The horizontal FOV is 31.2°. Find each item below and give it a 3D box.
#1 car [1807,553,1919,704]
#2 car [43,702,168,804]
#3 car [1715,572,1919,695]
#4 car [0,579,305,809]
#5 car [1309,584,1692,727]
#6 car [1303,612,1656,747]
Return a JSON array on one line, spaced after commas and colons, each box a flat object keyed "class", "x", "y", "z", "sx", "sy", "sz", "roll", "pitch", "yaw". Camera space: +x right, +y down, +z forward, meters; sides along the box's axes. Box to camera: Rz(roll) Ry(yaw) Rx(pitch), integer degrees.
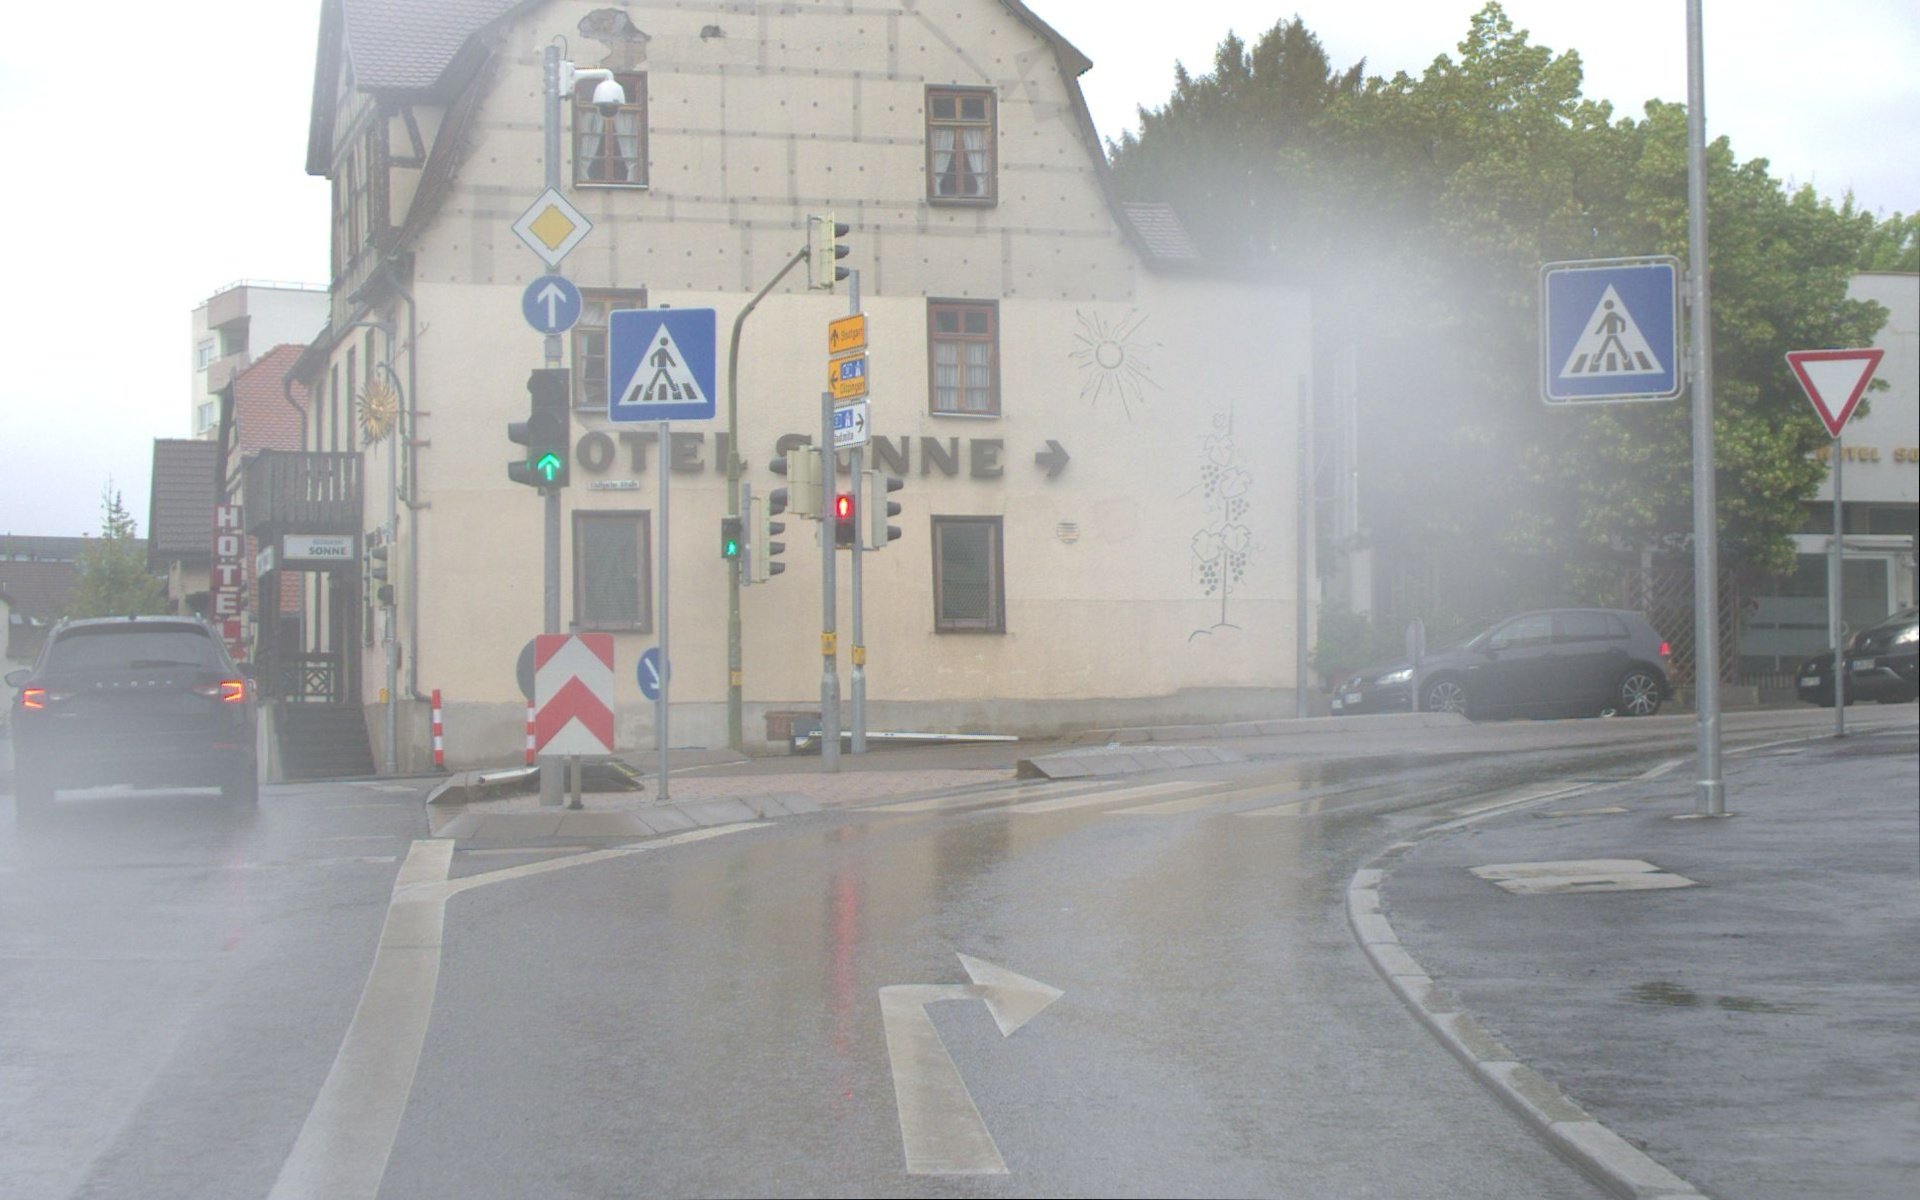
[{"class": "car", "x": 13.466, "y": 0.309, "z": 44.795, "sx": 4.300, "sy": 1.809, "sz": 1.779, "roll": -2, "pitch": -4, "yaw": -18}, {"class": "car", "x": -14.689, "y": 2.610, "z": 59.236, "sx": 1.886, "sy": 1.462, "sz": 4.001, "roll": -2, "pitch": 1, "yaw": -12}, {"class": "car", "x": 12.837, "y": 0.433, "z": 47.738, "sx": 4.171, "sy": 1.514, "sz": 1.779, "roll": -2, "pitch": -4, "yaw": -18}, {"class": "car", "x": -6.237, "y": 0.660, "z": 26.935, "sx": 1.944, "sy": 1.561, "sz": 4.418, "roll": 0, "pitch": 2, "yaw": -8}, {"class": "car", "x": 6.719, "y": 0.690, "z": 42.808, "sx": 4.301, "sy": 1.500, "sz": 1.779, "roll": -2, "pitch": -4, "yaw": -19}, {"class": "car", "x": 6.849, "y": 1.052, "z": 45.444, "sx": 4.171, "sy": 1.514, "sz": 1.779, "roll": -2, "pitch": -4, "yaw": -18}]
